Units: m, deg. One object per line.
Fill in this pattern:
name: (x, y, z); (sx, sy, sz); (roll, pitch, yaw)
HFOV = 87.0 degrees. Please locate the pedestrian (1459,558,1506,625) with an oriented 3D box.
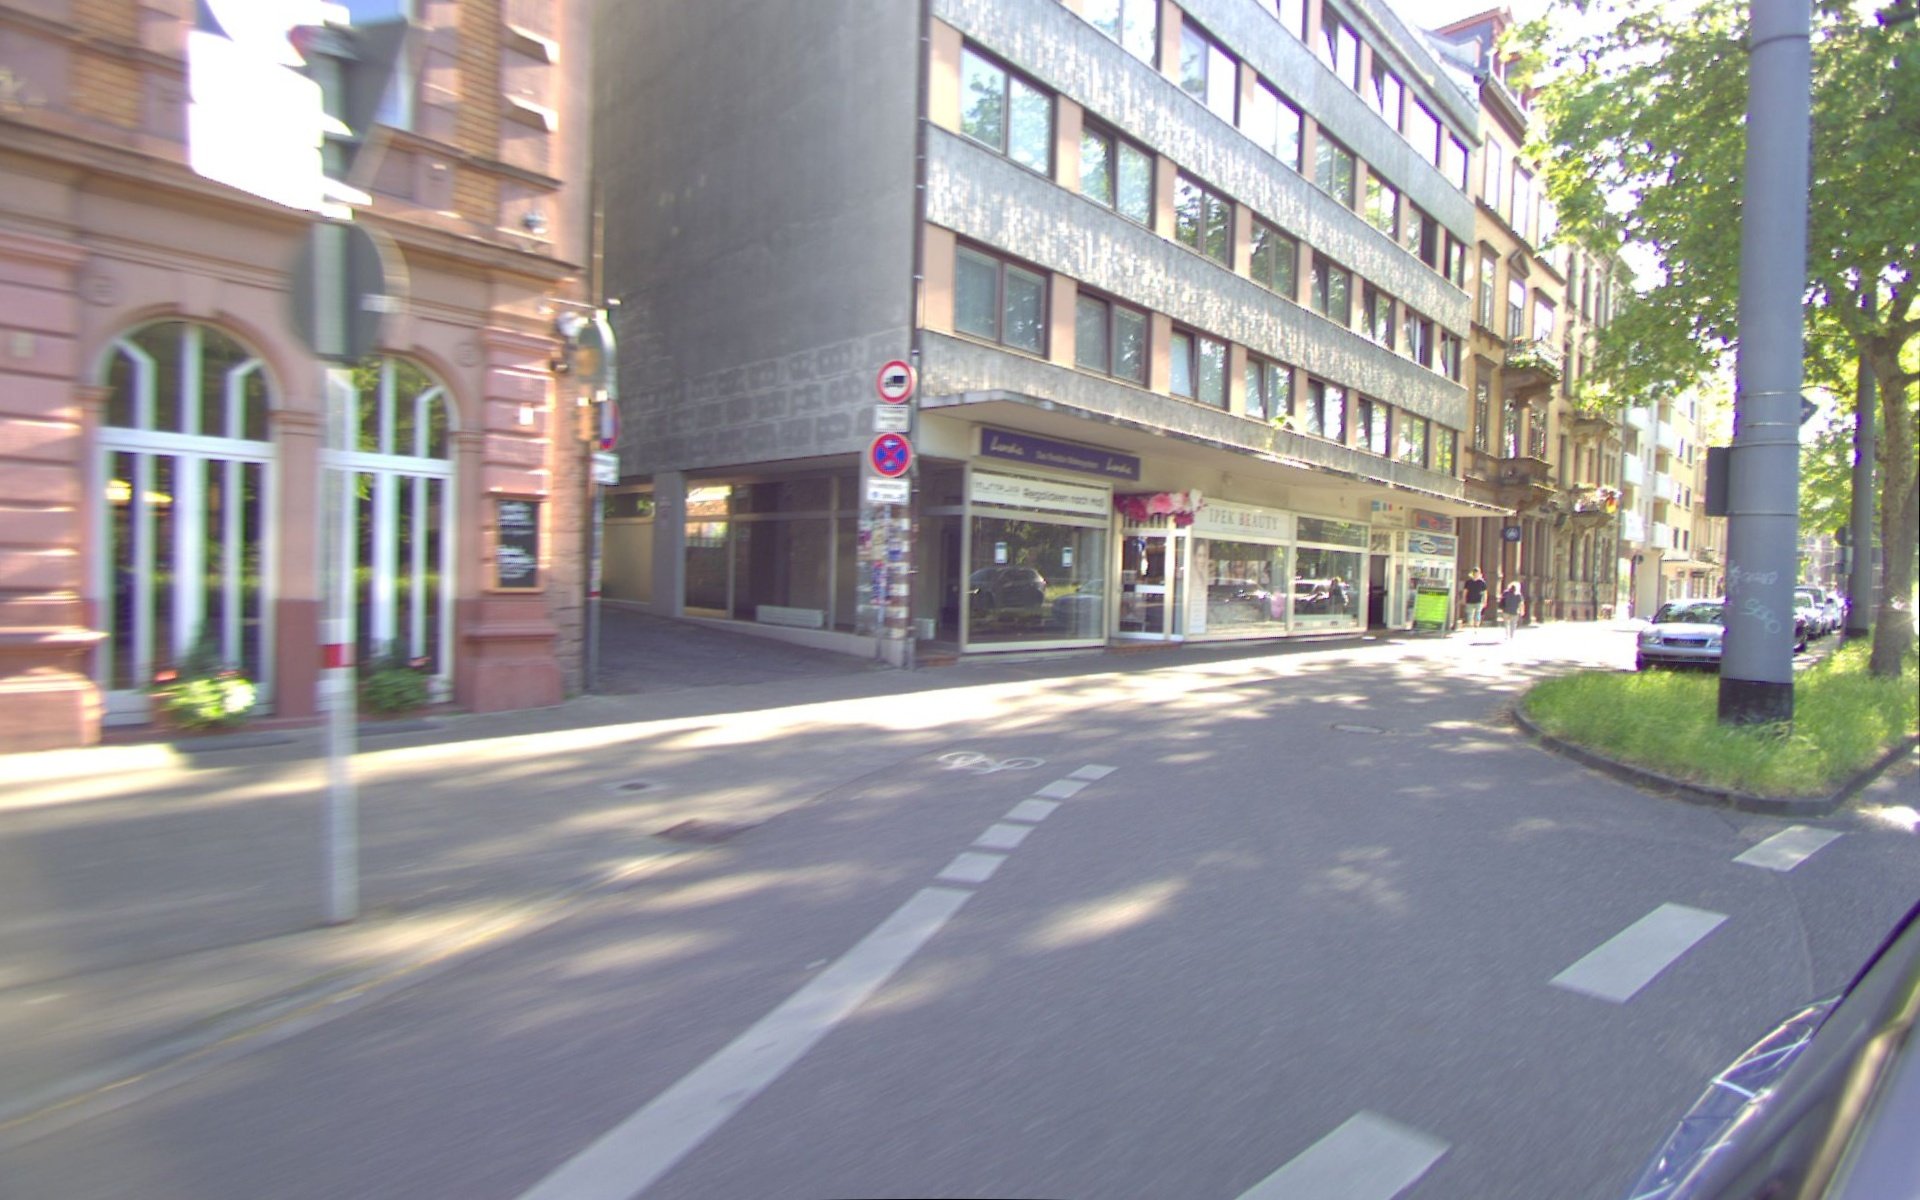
pedestrian: (14.721, -0.252, 28.511); (0.703, 1.863, 1.000); (0, 1, -44)

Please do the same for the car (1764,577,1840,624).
car: (28.757, -0.008, 34.529); (1.704, 1.521, 4.289); (0, 1, 44)

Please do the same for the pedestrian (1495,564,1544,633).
pedestrian: (14.831, -0.044, 26.831); (1.000, 1.783, 0.704); (0, 0, 45)

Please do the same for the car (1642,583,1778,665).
car: (14.828, 0.407, 19.916); (1.700, 1.442, 4.447); (0, 0, 43)

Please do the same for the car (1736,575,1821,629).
car: (24.323, 0.009, 30.009); (1.676, 1.485, 4.598); (0, 1, 42)

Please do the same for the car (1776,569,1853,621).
car: (32.167, -0.188, 38.040); (1.865, 1.839, 4.722); (0, 0, 44)

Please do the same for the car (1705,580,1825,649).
car: (19.841, 0.285, 24.857); (1.806, 1.508, 4.840); (0, 1, 45)
